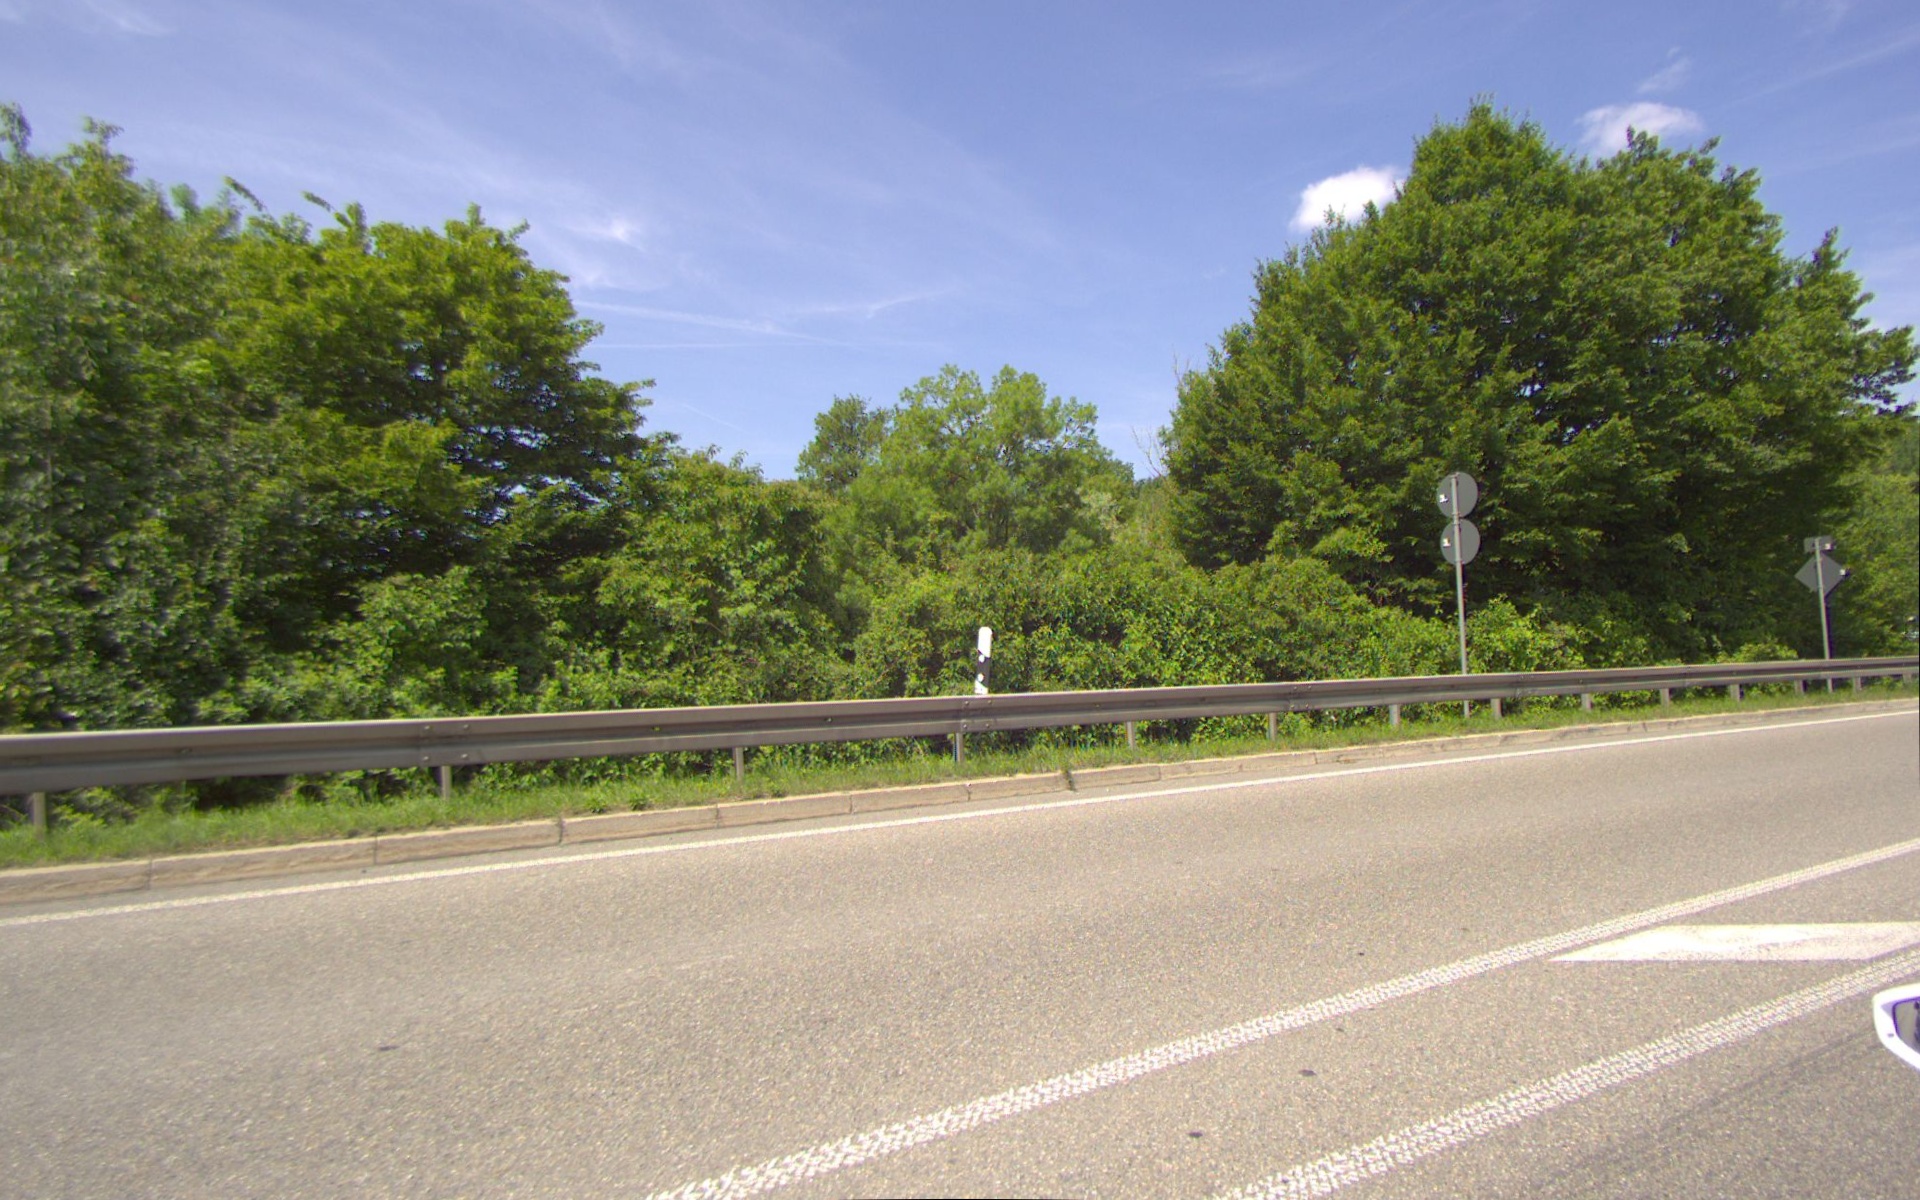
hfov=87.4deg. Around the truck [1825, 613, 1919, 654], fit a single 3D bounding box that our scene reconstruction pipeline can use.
[{"bbox_3d":[45.091,1.628,48.400,2.024,1.815,4.841,2,-1,-36],"label":"truck"}]
